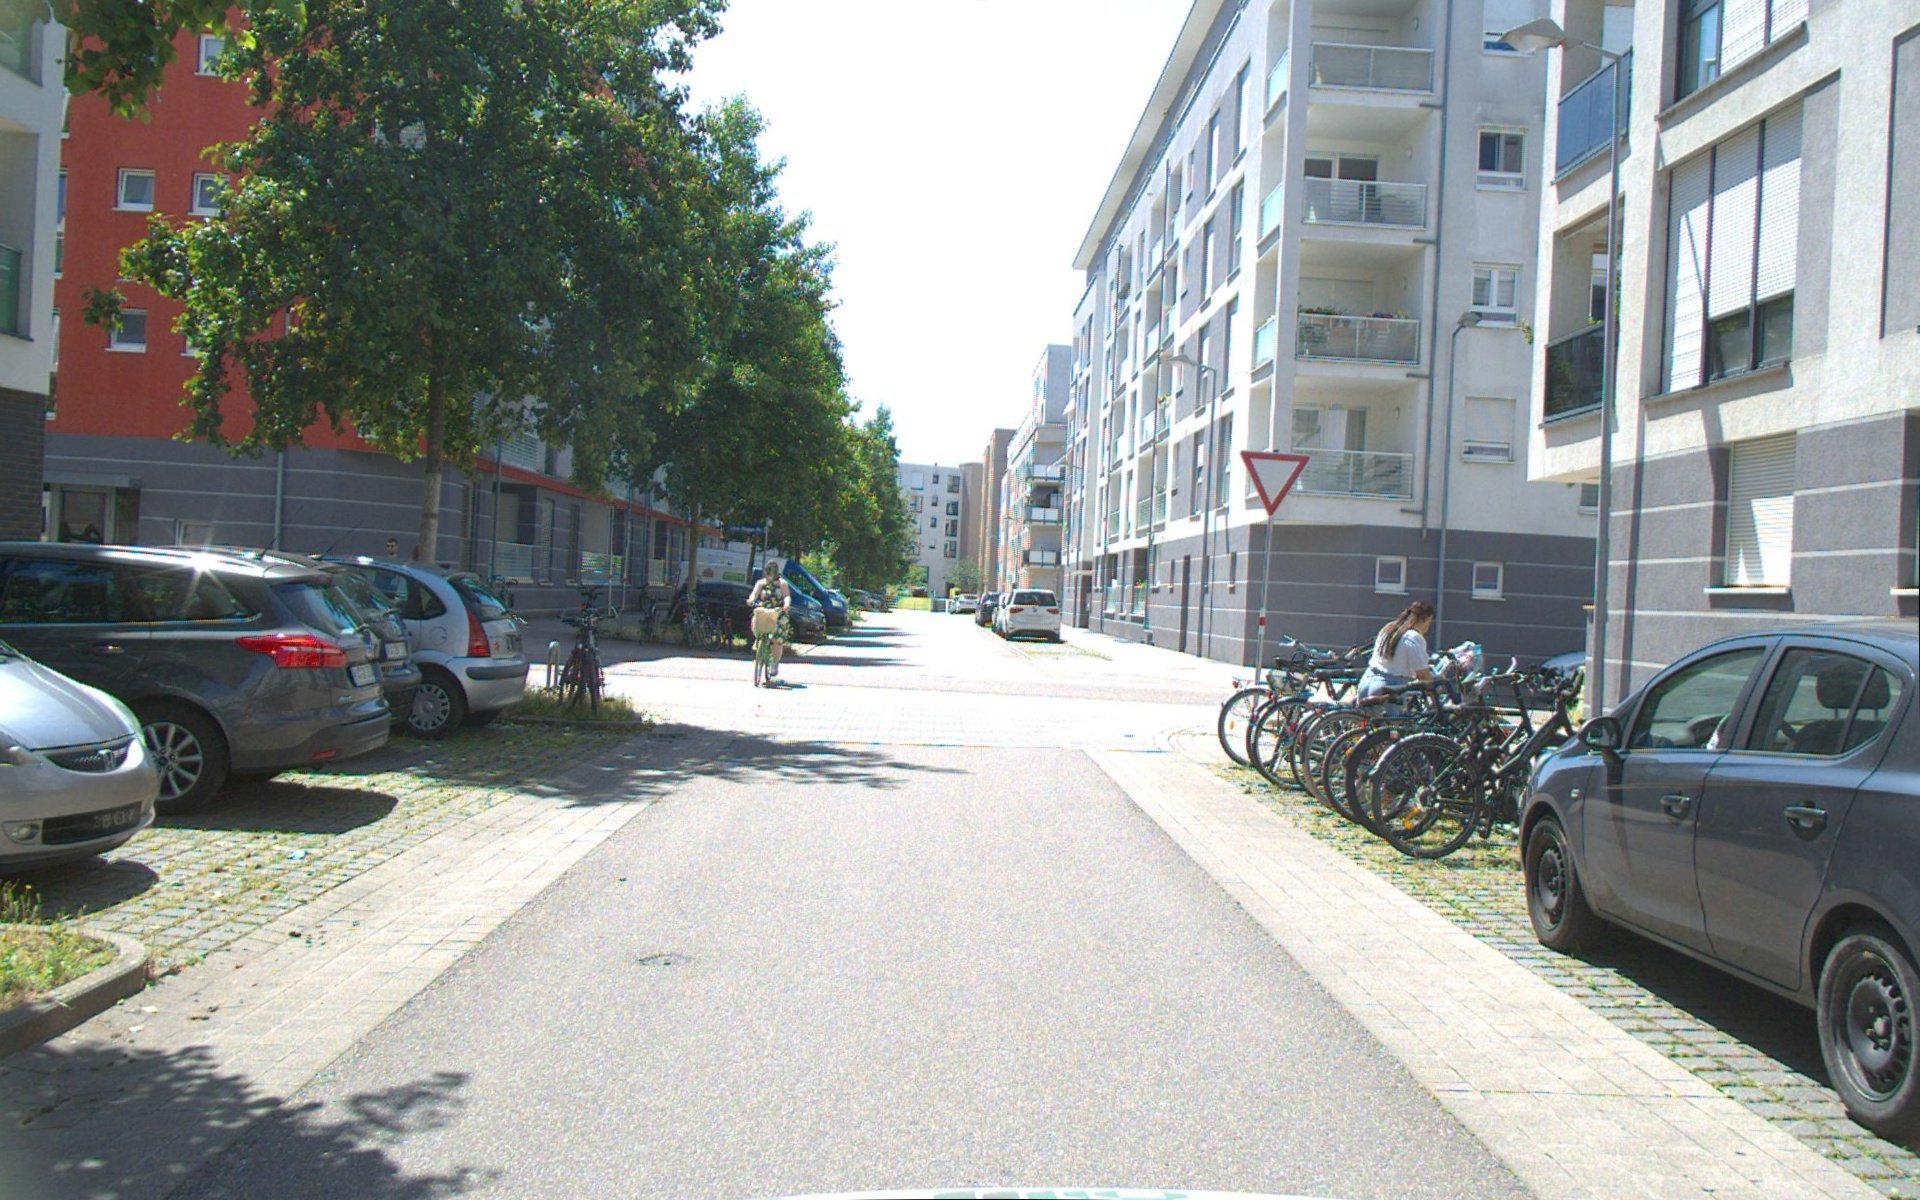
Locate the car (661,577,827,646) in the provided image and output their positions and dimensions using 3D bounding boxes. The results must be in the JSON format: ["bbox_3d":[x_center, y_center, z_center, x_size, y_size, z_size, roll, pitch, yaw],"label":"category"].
[{"bbox_3d":[-5.987,0.320,46.311,4.295,1.541,2.074,5,0,-2],"label":"car"}]

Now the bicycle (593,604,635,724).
[{"bbox_3d":[-3.723,0.656,17.763,0.364,1.201,1.815,2,0,-13],"label":"bicycle"}]

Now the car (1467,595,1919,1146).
[{"bbox_3d":[3.491,0.768,6.310,1.703,1.511,4.228,2,0,-1],"label":"car"}]

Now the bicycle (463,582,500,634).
[{"bbox_3d":[-10.783,0.164,37.320,0.596,1.126,2.100,3,0,-12],"label":"bicycle"}]

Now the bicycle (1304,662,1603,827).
[{"bbox_3d":[3.385,0.985,11.394,1.886,1.053,0.559,2,0,-5],"label":"bicycle"}]

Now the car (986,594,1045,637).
[{"bbox_3d":[2.110,0.575,64.252,1.954,1.551,3.998,2,0,-2],"label":"car"}]

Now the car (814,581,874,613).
[{"bbox_3d":[-8.246,-0.211,117.717,3.903,2.049,2.001,3,0,5],"label":"car"}]

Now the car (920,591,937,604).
[{"bbox_3d":[-3.917,-0.302,205.655,1.954,1.545,3.998,3,0,-2],"label":"car"}]

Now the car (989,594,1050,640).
[{"bbox_3d":[2.107,0.587,59.423,1.953,1.551,3.999,2,0,-1],"label":"car"}]

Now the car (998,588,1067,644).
[{"bbox_3d":[2.318,0.495,53.727,1.957,1.686,4.114,2,0,-1],"label":"car"}]

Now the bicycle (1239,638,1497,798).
[{"bbox_3d":[3.174,0.907,13.000,1.882,1.153,0.609,2,0,8],"label":"bicycle"}]

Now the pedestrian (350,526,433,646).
[{"bbox_3d":[-10.044,-0.239,29.275,0.988,2.049,1.129,2,0,2],"label":"pedestrian"}]

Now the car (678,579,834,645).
[{"bbox_3d":[-5.976,0.343,48.863,4.295,1.568,1.878,4,0,-2],"label":"car"}]

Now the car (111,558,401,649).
[{"bbox_3d":[-12.914,0.038,30.563,4.482,1.407,1.936,3,2,-4],"label":"car"}]

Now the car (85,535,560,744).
[{"bbox_3d":[-5.718,0.339,15.191,3.557,1.547,1.831,4,0,-2],"label":"car"}]

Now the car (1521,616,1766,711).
[{"bbox_3d":[13.003,1.193,31.606,3.907,1.495,1.755,3,2,-3],"label":"car"}]

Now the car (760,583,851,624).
[{"bbox_3d":[-7.066,0.160,76.106,3.905,1.646,2.000,3,0,1],"label":"car"}]

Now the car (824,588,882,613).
[{"bbox_3d":[-7.776,0.017,120.299,3.903,1.630,2.001,3,0,5],"label":"car"}]

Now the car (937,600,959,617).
[{"bbox_3d":[-1.206,0.828,163.599,1.954,1.545,3.998,3,0,-2],"label":"car"}]

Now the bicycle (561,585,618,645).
[{"bbox_3d":[-8.054,0.313,36.019,0.675,1.190,2.223,5,1,-1],"label":"bicycle"}]

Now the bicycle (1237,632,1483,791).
[{"bbox_3d":[3.257,0.893,13.607,1.882,1.200,0.639,2,0,8],"label":"bicycle"}]

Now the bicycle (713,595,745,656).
[{"bbox_3d":[-5.058,0.546,36.214,0.560,1.194,1.765,5,1,-8],"label":"bicycle"}]

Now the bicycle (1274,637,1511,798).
[{"bbox_3d":[3.314,0.886,12.638,1.807,1.168,0.458,2,0,-21],"label":"bicycle"}]

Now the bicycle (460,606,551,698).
[{"bbox_3d":[-5.423,0.607,19.817,0.522,1.007,1.677,5,-1,1],"label":"bicycle"}]

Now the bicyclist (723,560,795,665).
[{"bbox_3d":[-2.961,0.180,24.442,0.934,1.485,0.799,2,0,-2],"label":"bicyclist"}]

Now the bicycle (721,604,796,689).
[{"bbox_3d":[-2.962,0.660,24.489,0.880,1.149,2.039,2,0,-2],"label":"bicycle"}]

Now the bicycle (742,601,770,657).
[{"bbox_3d":[-4.487,0.626,36.448,0.456,1.161,1.925,2,0,-3],"label":"bicycle"}]

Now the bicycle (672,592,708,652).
[{"bbox_3d":[-5.941,0.462,36.449,0.508,1.224,1.751,4,1,-3],"label":"bicycle"}]

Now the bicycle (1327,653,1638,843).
[{"bbox_3d":[3.353,0.939,10.699,1.751,1.123,0.746,2,0,-5],"label":"bicycle"}]

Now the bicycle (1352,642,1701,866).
[{"bbox_3d":[3.381,0.908,9.953,1.833,1.239,0.715,2,0,-5],"label":"bicycle"}]

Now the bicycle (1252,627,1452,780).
[{"bbox_3d":[3.370,0.881,14.292,1.520,1.239,0.707,2,0,-3],"label":"bicycle"}]

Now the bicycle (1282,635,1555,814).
[{"bbox_3d":[3.339,0.905,12.055,1.888,1.239,0.459,2,0,-11],"label":"bicycle"}]

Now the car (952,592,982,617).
[{"bbox_3d":[0.493,0.330,122.349,1.954,1.704,3.998,3,0,-3],"label":"car"}]

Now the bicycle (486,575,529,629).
[{"bbox_3d":[-10.917,0.045,39.944,0.540,1.261,1.924,2,0,-2],"label":"bicycle"}]

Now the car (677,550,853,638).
[{"bbox_3d":[-6.879,-0.215,58.906,5.902,2.865,2.604,2,0,-2],"label":"car"}]

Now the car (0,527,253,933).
[{"bbox_3d":[-5.535,0.376,7.381,3.859,1.580,1.871,4,0,-2],"label":"car"}]

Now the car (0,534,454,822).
[{"bbox_3d":[-5.509,0.400,10.278,4.099,1.512,1.957,4,-1,-5],"label":"car"}]

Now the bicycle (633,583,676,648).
[{"bbox_3d":[-6.682,0.320,36.222,0.581,1.354,1.812,2,1,-1],"label":"bicycle"}]

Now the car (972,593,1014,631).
[{"bbox_3d":[1.509,0.512,73.817,1.721,1.579,4.001,3,0,2],"label":"car"}]

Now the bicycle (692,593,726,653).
[{"bbox_3d":[-5.481,0.495,36.209,0.425,1.224,1.699,4,1,-1],"label":"bicycle"}]

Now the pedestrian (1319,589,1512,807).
[{"bbox_3d":[3.344,0.710,12.182,1.157,1.541,0.686,2,0,-11],"label":"pedestrian"}]

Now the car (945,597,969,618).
[{"bbox_3d":[-0.290,0.643,149.558,1.954,1.747,3.998,3,0,-2],"label":"car"}]

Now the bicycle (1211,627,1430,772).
[{"bbox_3d":[3.247,0.885,14.999,1.821,1.214,0.687,2,0,1],"label":"bicycle"}]

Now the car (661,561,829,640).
[{"bbox_3d":[-6.889,0.008,53.474,5.042,2.156,2.311,4,0,-2],"label":"car"}]

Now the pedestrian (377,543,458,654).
[{"bbox_3d":[-8.743,-0.029,26.680,0.980,1.720,0.832,2,0,-1],"label":"pedestrian"}]

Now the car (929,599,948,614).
[{"bbox_3d":[-2.368,0.673,184.821,1.952,1.545,4.000,3,0,1],"label":"car"}]

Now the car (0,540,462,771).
[{"bbox_3d":[-6.142,0.379,12.905,3.905,1.582,1.800,2,0,0],"label":"car"}]

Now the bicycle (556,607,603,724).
[{"bbox_3d":[-4.077,0.670,17.725,0.426,1.147,1.972,2,0,-13],"label":"bicycle"}]
